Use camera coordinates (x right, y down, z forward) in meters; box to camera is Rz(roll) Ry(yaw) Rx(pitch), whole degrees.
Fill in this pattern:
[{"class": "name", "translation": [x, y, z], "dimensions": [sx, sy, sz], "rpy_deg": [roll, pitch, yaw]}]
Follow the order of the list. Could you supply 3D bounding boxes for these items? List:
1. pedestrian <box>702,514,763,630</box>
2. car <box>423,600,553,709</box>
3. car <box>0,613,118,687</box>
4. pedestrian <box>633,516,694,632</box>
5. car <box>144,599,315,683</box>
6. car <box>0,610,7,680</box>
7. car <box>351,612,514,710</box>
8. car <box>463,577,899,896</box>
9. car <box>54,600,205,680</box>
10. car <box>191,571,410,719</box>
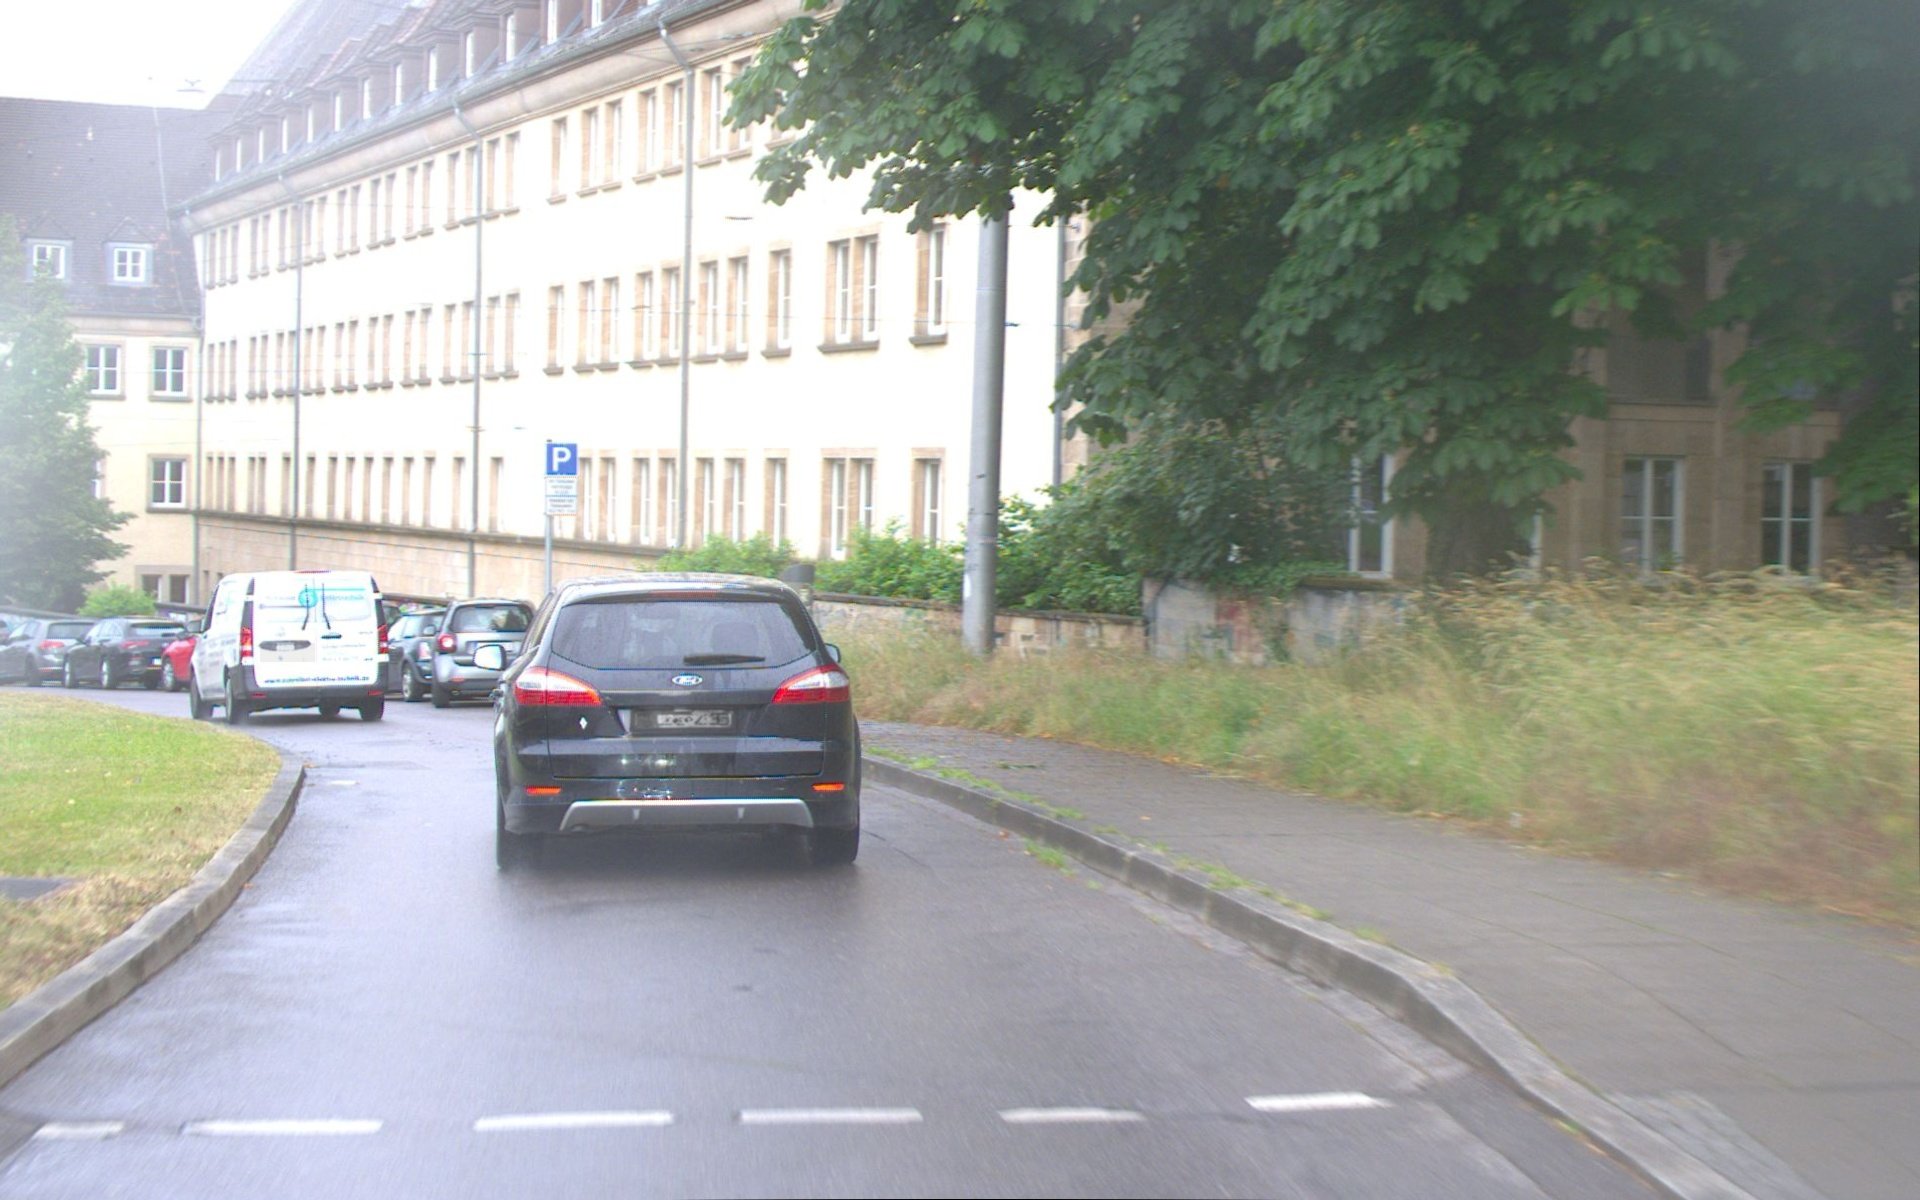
[{"class": "pedestrian", "translation": [-3.504, -0.428, 52.848], "dimensions": [0.717, 1.749, 0.739], "rpy_deg": [-1, 0, -21]}, {"class": "car", "translation": [-6.731, 0.753, 48.848], "dimensions": [1.597, 1.460, 2.721], "rpy_deg": [-1, 0, -12]}, {"class": "car", "translation": [-19.179, 1.031, 72.142], "dimensions": [1.665, 1.471, 4.108], "rpy_deg": [-2, 0, -32]}, {"class": "pedestrian", "translation": [-4.530, -0.396, 52.432], "dimensions": [0.717, 1.749, 0.739], "rpy_deg": [-1, 0, -21]}, {"class": "car", "translation": [-13.367, 0.753, 62.732], "dimensions": [1.665, 1.471, 4.065], "rpy_deg": [1, -1, -34]}, {"class": "car", "translation": [-22.714, 1.024, 76.942], "dimensions": [1.665, 1.519, 4.109], "rpy_deg": [-2, 0, -30]}, {"class": "car", "translation": [-8.080, 0.904, 52.453], "dimensions": [1.535, 1.411, 3.644], "rpy_deg": [-2, 0, -24]}, {"class": "car", "translation": [-1.593, 0.624, 18.236], "dimensions": [1.919, 1.474, 4.001], "rpy_deg": [-1, 0, -10]}, {"class": "car", "translation": [-16.220, 0.773, 66.981], "dimensions": [1.665, 1.471, 4.457], "rpy_deg": [-2, 0, -30]}, {"class": "car", "translation": [-8.342, 0.525, 43.212], "dimensions": [2.136, 1.739, 4.219], "rpy_deg": [-1, 0, -19]}]
